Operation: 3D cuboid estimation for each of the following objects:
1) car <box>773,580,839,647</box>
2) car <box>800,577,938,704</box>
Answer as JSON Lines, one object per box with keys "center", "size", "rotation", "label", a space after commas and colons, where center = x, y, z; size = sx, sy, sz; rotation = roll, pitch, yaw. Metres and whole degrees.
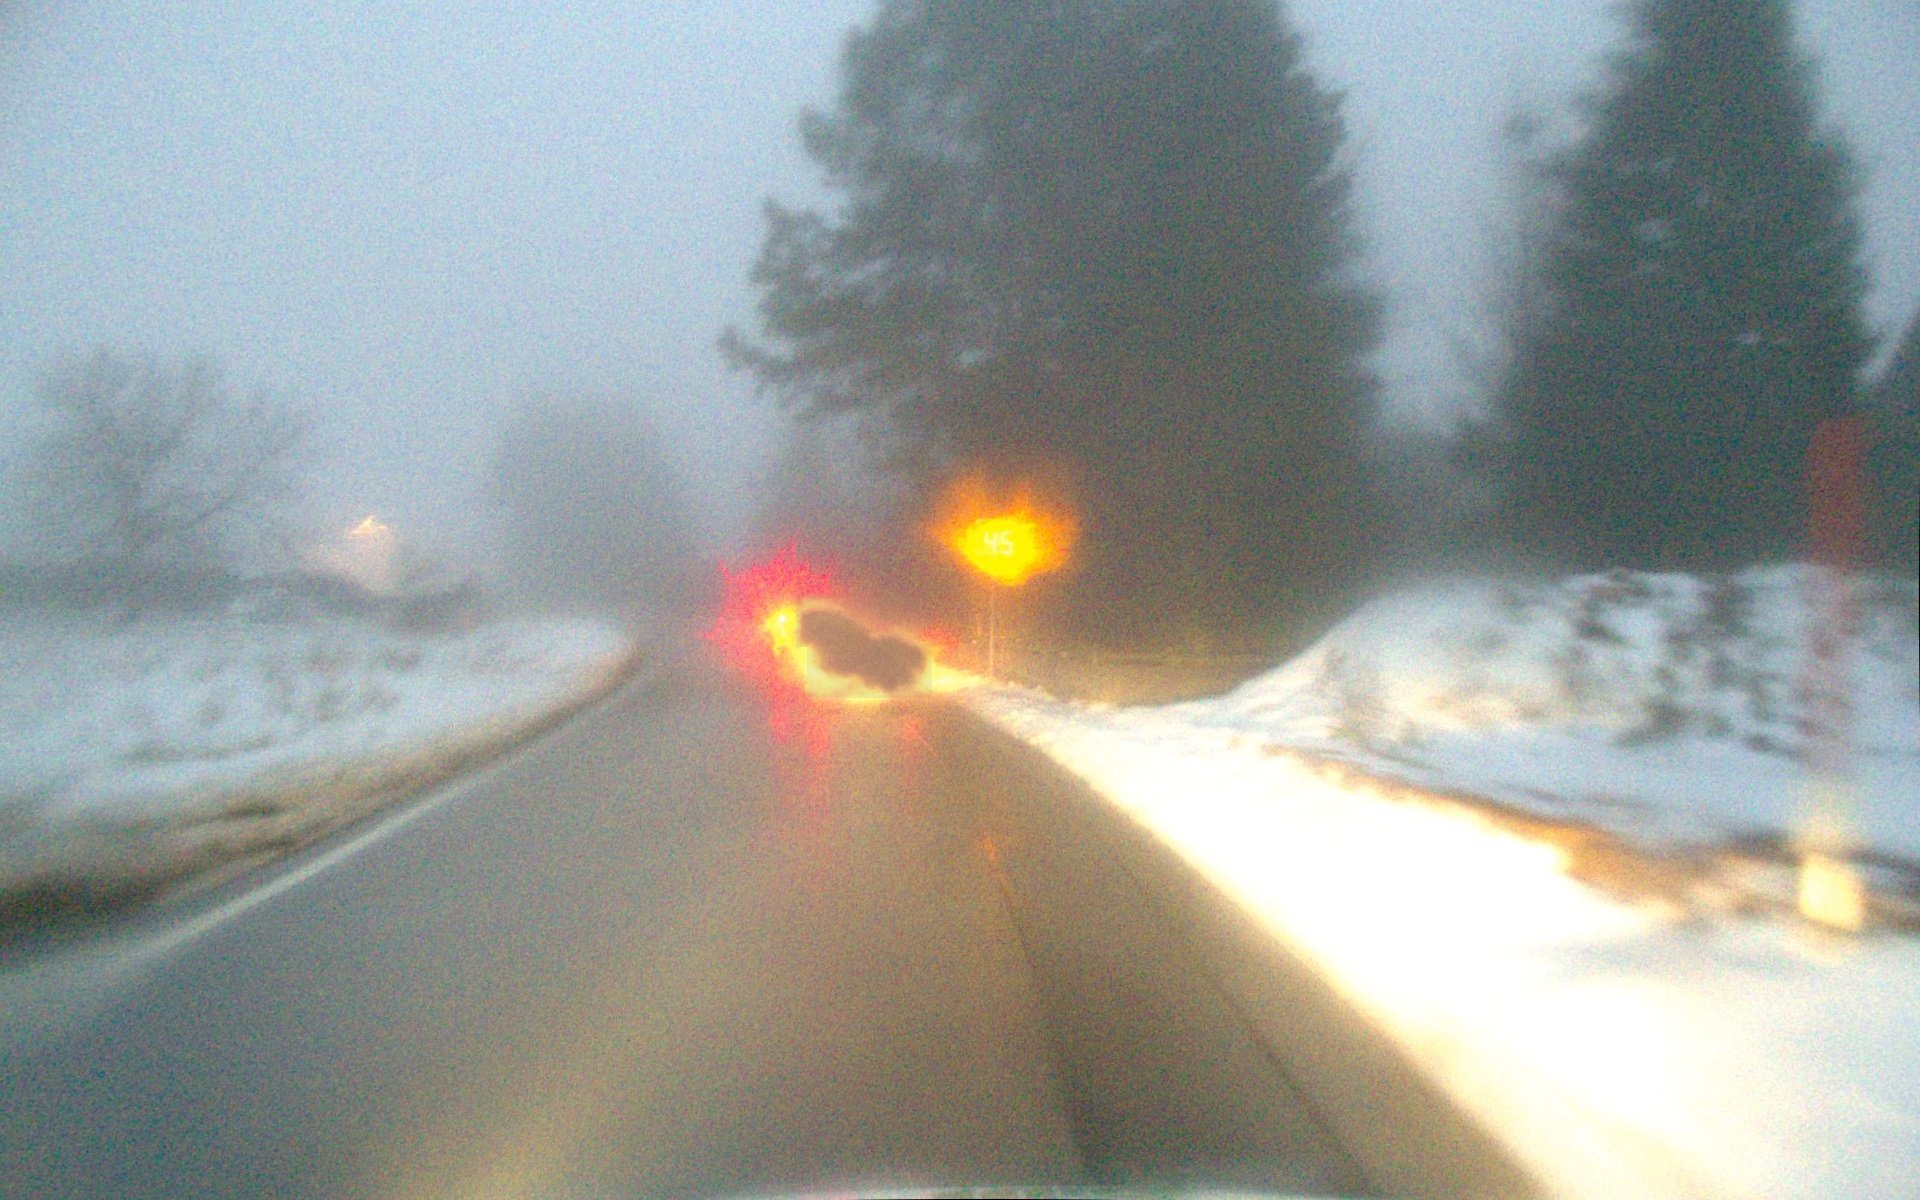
{"center": [-3.641, 0.318, 39.466], "size": [1.449, 1.534, 3.050], "rotation": [0, 0, -4], "label": "car"}
{"center": [-1.336, 0.601, 23.754], "size": [1.674, 1.488, 3.996], "rotation": [6, -2, -4], "label": "car"}
